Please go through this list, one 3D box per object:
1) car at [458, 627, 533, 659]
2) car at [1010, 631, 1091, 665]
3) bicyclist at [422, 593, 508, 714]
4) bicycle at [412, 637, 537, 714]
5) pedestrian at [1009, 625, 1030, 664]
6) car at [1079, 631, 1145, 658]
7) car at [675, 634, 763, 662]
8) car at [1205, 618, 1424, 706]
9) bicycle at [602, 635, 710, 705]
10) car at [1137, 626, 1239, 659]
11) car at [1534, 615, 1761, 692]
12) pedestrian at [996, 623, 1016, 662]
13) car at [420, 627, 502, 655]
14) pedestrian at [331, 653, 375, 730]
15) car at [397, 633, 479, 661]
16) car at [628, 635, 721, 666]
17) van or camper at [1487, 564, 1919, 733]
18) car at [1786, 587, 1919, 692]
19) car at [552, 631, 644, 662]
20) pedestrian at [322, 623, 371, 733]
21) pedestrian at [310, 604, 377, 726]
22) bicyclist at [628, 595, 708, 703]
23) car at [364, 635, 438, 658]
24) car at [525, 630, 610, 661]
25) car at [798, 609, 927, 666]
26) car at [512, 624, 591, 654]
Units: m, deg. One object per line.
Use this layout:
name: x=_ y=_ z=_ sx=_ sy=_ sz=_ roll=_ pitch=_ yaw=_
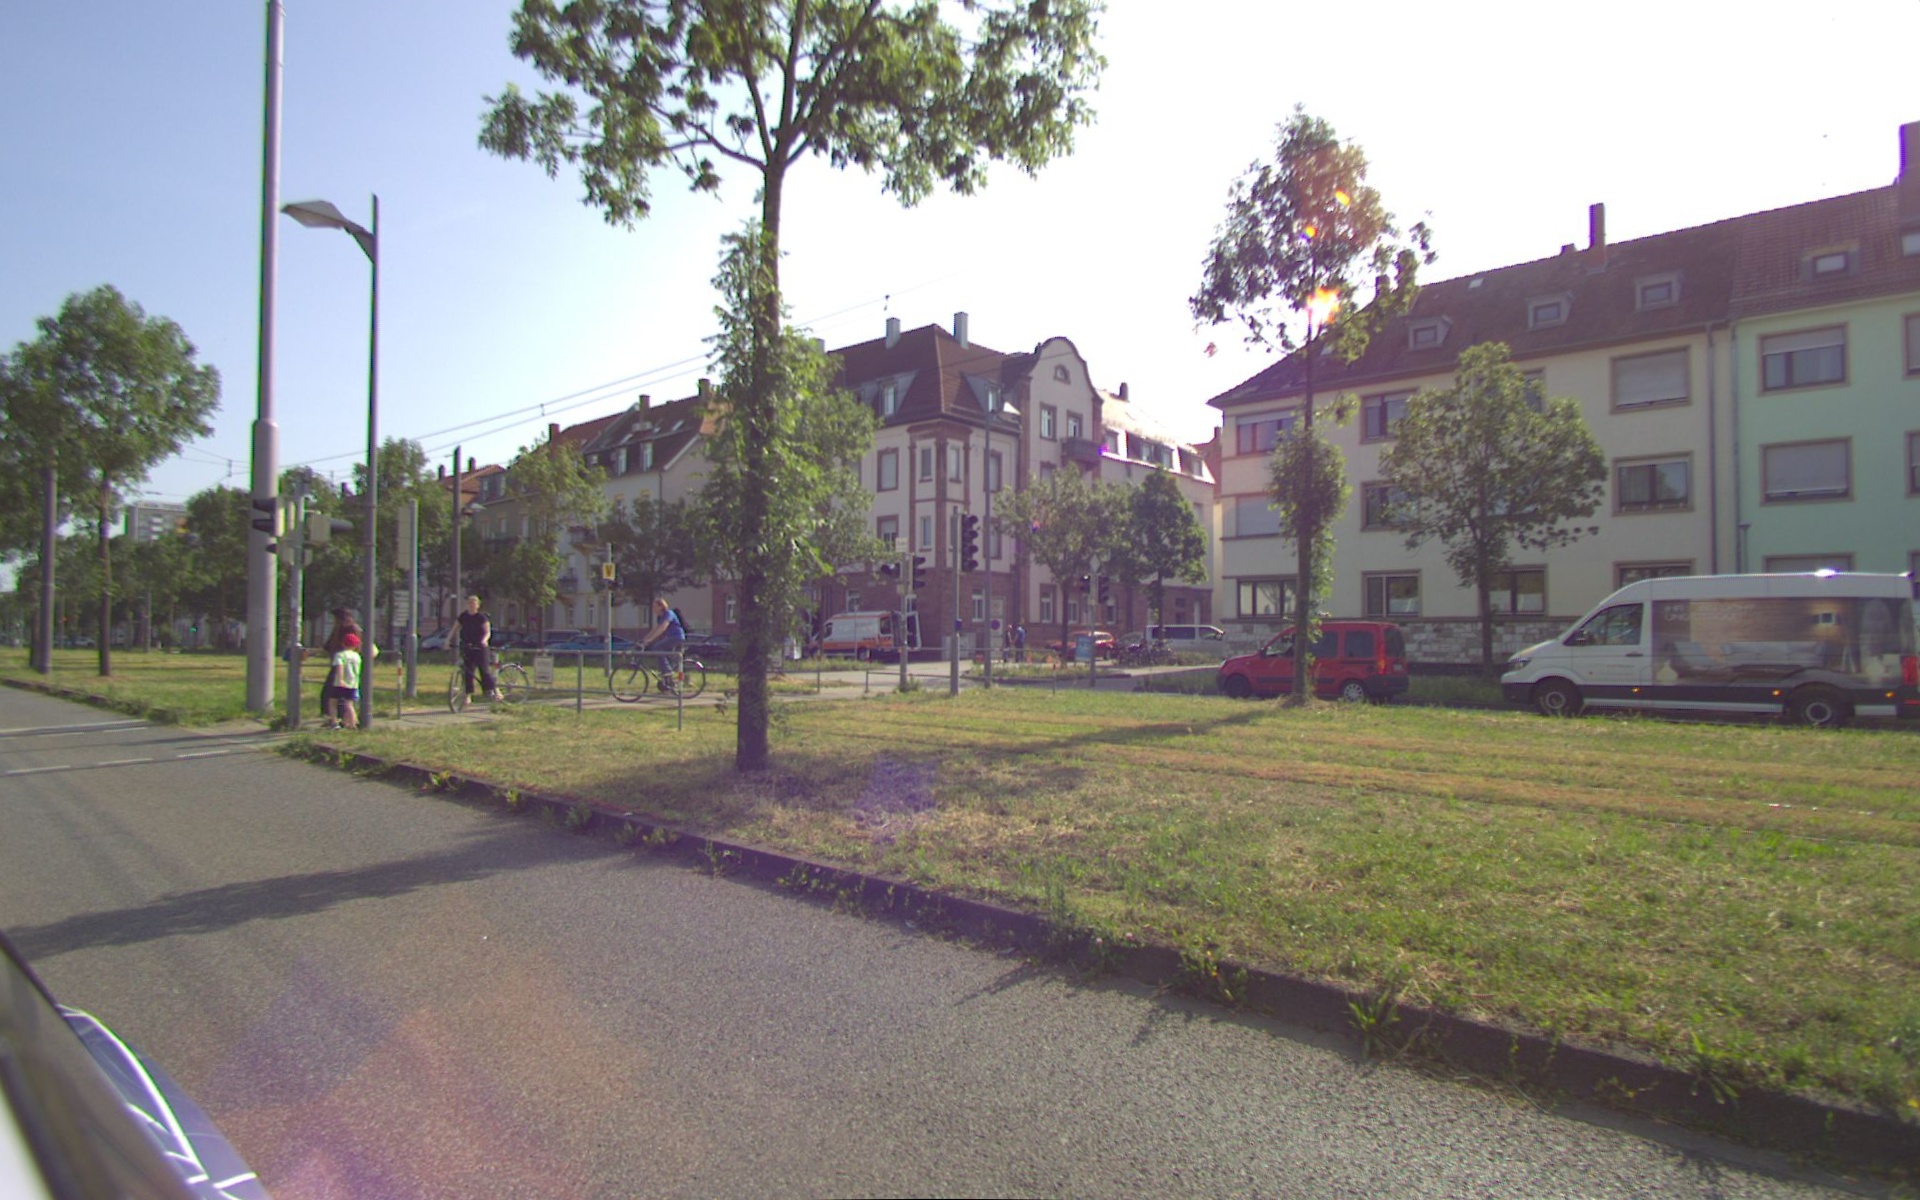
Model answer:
car: x=-27.530 y=2.526 z=60.123 sx=3.931 sy=1.719 sz=1.881 roll=-1 pitch=-1 yaw=-20
car: x=4.538 y=2.358 z=50.492 sx=2.000 sy=1.475 sz=3.943 roll=-1 pitch=-1 yaw=43
bicyclist: x=-7.809 y=0.836 z=15.964 sx=0.906 sy=1.836 sz=0.861 roll=-1 pitch=-3 yaw=33
bicycle: x=-7.734 y=1.171 z=16.191 sx=0.575 sy=1.154 sz=1.732 roll=-1 pitch=-3 yaw=35
pedestrian: x=2.663 y=1.990 z=45.451 sx=0.632 sy=1.761 sz=0.661 roll=-1 pitch=-1 yaw=41
car: x=8.328 y=2.396 z=55.323 sx=1.735 sy=1.295 sz=3.841 roll=-1 pitch=-1 yaw=43
car: x=-11.061 y=2.163 z=46.334 sx=3.784 sy=1.136 sz=1.774 roll=-1 pitch=-1 yaw=-17
car: x=7.662 y=1.306 z=22.103 sx=4.160 sy=1.751 sz=1.796 roll=-1 pitch=-4 yaw=42
bicycle: x=-5.429 y=1.221 z=18.111 sx=1.763 sy=1.154 sz=0.578 roll=0 pitch=-1 yaw=-32
car: x=10.368 y=1.937 z=46.339 sx=4.447 sy=1.482 sz=1.603 roll=-1 pitch=-2 yaw=10
car: x=15.165 y=1.144 z=22.405 sx=4.031 sy=1.541 sz=1.817 roll=-1 pitch=-1 yaw=-11
pedestrian: x=2.110 y=1.949 z=46.310 sx=0.632 sy=1.761 sz=0.661 roll=-1 pitch=-1 yaw=41
car: x=-31.081 y=2.516 z=63.173 sx=4.424 sy=1.617 sz=2.006 roll=-1 pitch=-1 yaw=-20
pedestrian: x=-8.059 y=1.202 z=13.433 sx=0.406 sy=0.989 sz=0.421 roll=2 pitch=-3 yaw=-44
car: x=-33.560 y=3.003 z=65.192 sx=4.424 sy=1.571 sz=2.006 roll=-1 pitch=-1 yaw=-20
car: x=-14.041 y=2.467 z=49.758 sx=4.269 sy=1.336 sz=2.006 roll=-1 pitch=-1 yaw=-17
van or camper: x=12.741 y=0.820 z=17.572 sx=6.055 sy=2.493 sz=2.119 roll=-1 pitch=-4 yaw=41
car: x=23.706 y=0.934 z=24.528 sx=5.577 sy=2.482 sz=1.972 roll=-1 pitch=-1 yaw=42
car: x=-18.694 y=2.396 z=52.459 sx=4.438 sy=1.451 sz=2.006 roll=-1 pitch=-1 yaw=-17
pedestrian: x=-7.852 y=0.984 z=12.947 sx=0.450 sy=1.368 sz=0.549 roll=2 pitch=-3 yaw=-39
pedestrian: x=-8.458 y=0.882 z=13.887 sx=0.602 sy=1.616 sz=0.736 roll=2 pitch=-3 yaw=-45
bicyclist: x=-5.255 y=0.851 z=18.186 sx=1.168 sy=1.864 sz=0.913 roll=0 pitch=-1 yaw=-31
car: x=-40.674 y=3.388 z=73.740 sx=4.424 sy=1.502 sz=2.006 roll=-1 pitch=-1 yaw=-20
car: x=-21.067 y=2.406 z=54.460 sx=4.121 sy=1.514 sz=1.947 roll=-1 pitch=-1 yaw=-16
car: x=-4.840 y=1.758 z=49.263 sx=6.501 sy=2.583 sz=2.325 roll=-1 pitch=-1 yaw=39
car: x=-22.834 y=2.151 z=56.751 sx=3.994 sy=1.566 sz=1.922 roll=-1 pitch=-1 yaw=-18
